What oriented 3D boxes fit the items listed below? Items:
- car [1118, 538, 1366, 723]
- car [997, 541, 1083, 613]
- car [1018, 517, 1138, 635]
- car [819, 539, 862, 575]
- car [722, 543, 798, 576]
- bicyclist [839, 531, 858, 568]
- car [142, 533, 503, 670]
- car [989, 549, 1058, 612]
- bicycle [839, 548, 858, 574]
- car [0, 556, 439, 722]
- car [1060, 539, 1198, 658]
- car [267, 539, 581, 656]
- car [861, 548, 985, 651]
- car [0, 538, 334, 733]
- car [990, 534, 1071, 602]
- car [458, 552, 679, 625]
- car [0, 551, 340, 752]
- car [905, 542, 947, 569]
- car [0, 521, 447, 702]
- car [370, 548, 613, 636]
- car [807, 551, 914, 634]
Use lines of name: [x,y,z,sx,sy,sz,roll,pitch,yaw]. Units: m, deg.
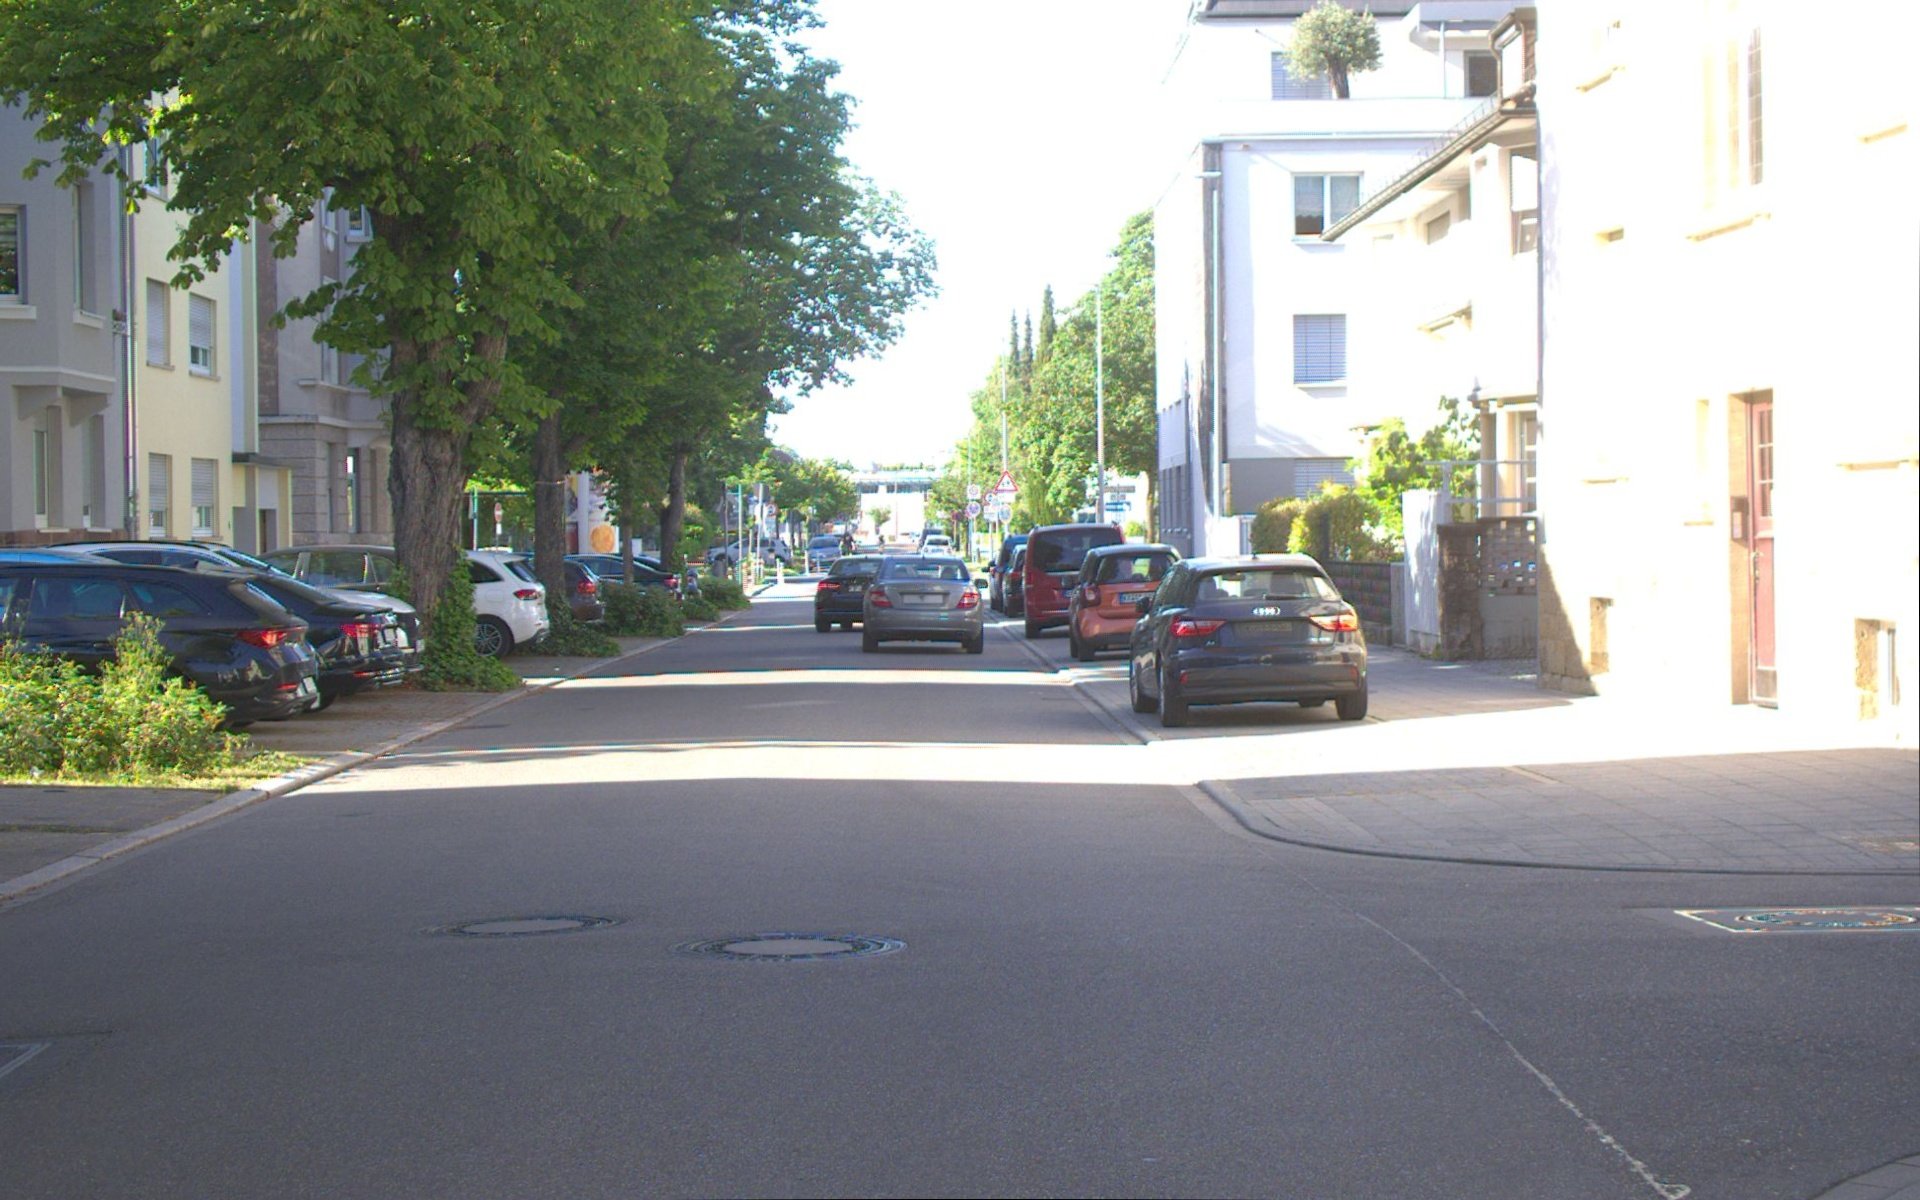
car: [2.398,0.214,30.086,1.619,1.435,3.935,-3,1,-2]
car: [1.734,-0.533,75.747,1.737,1.526,4.179,-1,1,-1]
car: [1.985,-0.404,59.248,1.871,1.898,5.197,-2,0,0]
car: [-5.864,-2.114,168.386,1.872,1.722,4.001,-1,1,-5]
car: [-9.477,-1.936,162.894,3.493,1.528,1.645,-1,1,-7]
bicyclist: [-4.661,-2.093,143.578,0.721,1.531,1.137,-1,1,-1]
car: [-7.759,-0.003,42.089,3.987,1.570,1.980,1,1,2]
car: [1.569,-0.472,86.038,1.564,1.406,3.729,-4,0,0]
bicycle: [-4.655,-1.638,143.600,0.719,1.075,1.891,-1,1,0]
car: [-6.998,0.343,32.166,3.987,1.463,1.697,-1,1,-1]
car: [2.256,-0.043,46.489,1.592,1.475,3.247,-3,1,-1]
car: [-7.318,-0.051,47.196,4.022,1.479,1.807,1,1,-1]
car: [-0.520,-0.004,50.724,1.726,1.415,3.960,1,0,0]
car: [-7.534,0.294,29.578,3.986,1.587,1.878,-1,1,-2]
car: [1.653,-0.746,81.596,1.682,1.430,4.266,-4,0,-1]
car: [-8.193,-0.229,72.230,4.473,1.474,1.869,1,0,-2]
car: [-7.107,0.390,26.906,4.186,1.493,1.861,-1,1,-2]
car: [-1.696,-2.214,170.823,1.722,1.325,4.001,-1,1,-5]
car: [-7.594,0.094,35.060,4.386,1.646,1.823,-2,2,0]
car: [-8.085,-0.146,59.551,3.986,1.416,1.771,1,2,-2]
car: [-1.813,-0.120,63.763,1.707,1.443,4.202,1,0,2]
